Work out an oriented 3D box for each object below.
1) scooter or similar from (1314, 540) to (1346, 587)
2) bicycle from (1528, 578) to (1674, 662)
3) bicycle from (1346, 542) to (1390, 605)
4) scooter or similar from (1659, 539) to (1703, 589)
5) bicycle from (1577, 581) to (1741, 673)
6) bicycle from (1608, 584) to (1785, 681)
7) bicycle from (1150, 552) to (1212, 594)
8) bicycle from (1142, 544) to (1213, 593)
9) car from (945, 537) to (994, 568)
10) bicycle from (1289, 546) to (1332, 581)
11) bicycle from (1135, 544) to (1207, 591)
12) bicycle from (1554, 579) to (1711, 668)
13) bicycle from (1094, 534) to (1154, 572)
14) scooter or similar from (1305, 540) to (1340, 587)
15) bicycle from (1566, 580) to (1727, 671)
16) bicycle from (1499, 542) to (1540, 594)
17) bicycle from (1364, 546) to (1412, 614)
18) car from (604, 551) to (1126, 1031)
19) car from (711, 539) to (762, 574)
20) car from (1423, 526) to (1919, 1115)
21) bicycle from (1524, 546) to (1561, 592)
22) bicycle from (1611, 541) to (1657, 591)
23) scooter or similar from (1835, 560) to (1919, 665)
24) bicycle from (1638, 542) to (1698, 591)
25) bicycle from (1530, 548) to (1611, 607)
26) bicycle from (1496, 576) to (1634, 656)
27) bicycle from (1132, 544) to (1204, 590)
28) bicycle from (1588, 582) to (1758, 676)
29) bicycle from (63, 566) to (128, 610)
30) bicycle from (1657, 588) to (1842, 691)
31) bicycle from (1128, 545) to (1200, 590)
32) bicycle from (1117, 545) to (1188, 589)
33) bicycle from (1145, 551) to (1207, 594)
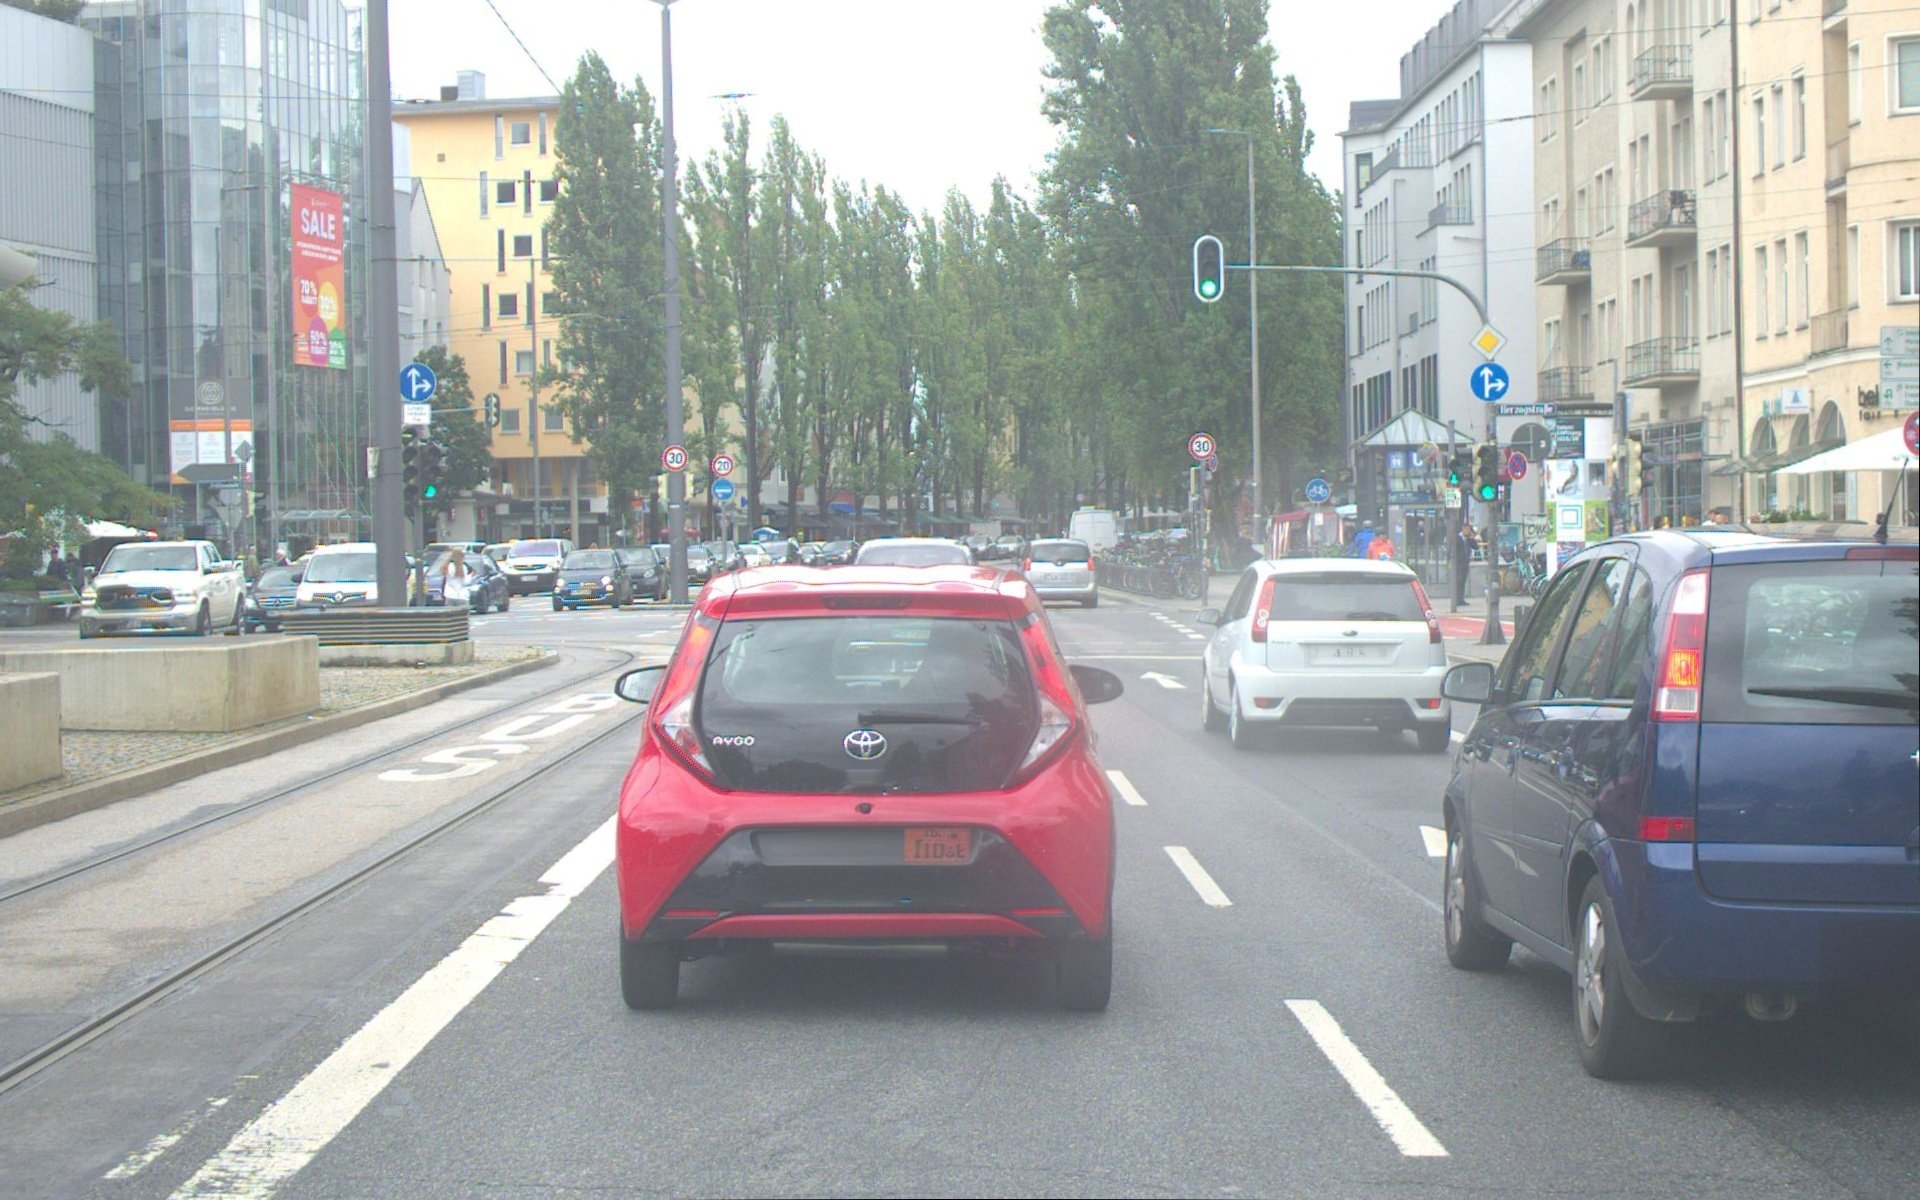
[{"bbox_3d":[9.586,-0.943,89.033,0.301,1.172,1.275,-1,1,30],"label":"scooter or similar"},{"bbox_3d":[7.755,0.250,41.656,1.841,0.992,0.347,-1,1,45],"label":"bicycle"},{"bbox_3d":[8.573,-0.572,72.280,0.614,1.260,2.520,-1,1,1],"label":"bicycle"},{"bbox_3d":[15.170,-0.756,72.351,0.820,0.991,0.593,-1,4,5],"label":"scooter or similar"},{"bbox_3d":[7.740,0.306,38.129,1.840,0.992,0.347,-1,1,43],"label":"bicycle"},{"bbox_3d":[7.726,0.347,36.104,1.840,0.992,0.347,-1,1,40],"label":"bicycle"},{"bbox_3d":[5.403,-0.662,83.933,0.498,1.025,1.601,-2,2,-42],"label":"bicycle"},{"bbox_3d":[5.400,-0.784,85.447,1.803,1.194,0.558,0,2,43],"label":"bicycle"},{"bbox_3d":[0.557,-2.784,199.242,1.995,1.722,3.915,-1,1,14],"label":"car"},{"bbox_3d":[9.858,-1.024,96.672,1.181,0.960,0.369,-1,1,4],"label":"bicycle"},{"bbox_3d":[5.336,-0.819,86.840,1.803,1.154,0.547,0,2,38],"label":"bicycle"},{"bbox_3d":[7.718,0.278,39.512,1.840,0.992,0.347,-1,1,43],"label":"bicycle"},{"bbox_3d":[4.894,-1.399,102.836,1.836,1.132,0.585,0,2,43],"label":"bicycle"},{"bbox_3d":[9.419,-0.953,89.382,0.364,1.172,1.345,-1,1,30],"label":"scooter or similar"},{"bbox_3d":[7.735,0.293,38.795,1.840,0.992,0.347,-1,1,43],"label":"bicycle"},{"bbox_3d":[12.306,-0.703,75.637,0.566,1.104,1.866,-1,1,0],"label":"bicycle"},{"bbox_3d":[8.299,-0.405,66.692,0.614,1.260,2.520,-1,1,1],"label":"bicycle"},{"bbox_3d":[-0.273,0.566,12.144,1.605,1.456,3.130,0,1,1],"label":"car"},{"bbox_3d":[-9.388,-1.831,144.788,1.765,1.417,4.639,-1,1,0],"label":"car"},{"bbox_3d":[2.572,0.558,11.014,1.703,1.584,3.556,0,1,0],"label":"car"},{"bbox_3d":[12.808,-0.692,75.617,0.494,0.971,1.866,-1,1,0],"label":"bicycle"},{"bbox_3d":[14.805,-0.756,75.507,0.494,1.055,1.867,-1,1,-5],"label":"bicycle"},{"bbox_3d":[9.915,0.122,36.718,0.775,1.071,1.256,-1,1,-2],"label":"scooter or similar"},{"bbox_3d":[15.595,-0.753,75.778,0.494,1.055,1.867,-1,1,-15],"label":"bicycle"},{"bbox_3d":[12.609,-0.464,71.070,1.568,1.156,0.525,-2,3,3],"label":"bicycle"},{"bbox_3d":[7.699,0.206,43.812,1.841,0.992,0.347,-1,1,45],"label":"bicycle"},{"bbox_3d":[5.345,-0.848,88.332,1.801,1.154,0.486,0,1,26],"label":"bicycle"},{"bbox_3d":[7.750,0.320,37.442,1.840,0.992,0.347,-1,1,40],"label":"bicycle"},{"bbox_3d":[-22.138,-0.314,88.052,1.574,1.108,0.373,-1,1,4],"label":"bicycle"},{"bbox_3d":[7.790,0.391,33.978,1.841,0.992,0.347,-1,1,44],"label":"bicycle"},{"bbox_3d":[5.274,-0.840,88.993,1.802,1.154,0.486,0,1,29],"label":"bicycle"},{"bbox_3d":[5.099,-0.874,91.026,1.803,1.154,0.651,0,2,36],"label":"bicycle"},{"bbox_3d":[5.323,-0.683,84.788,0.498,1.025,1.601,-2,2,-42],"label":"bicycle"}]
